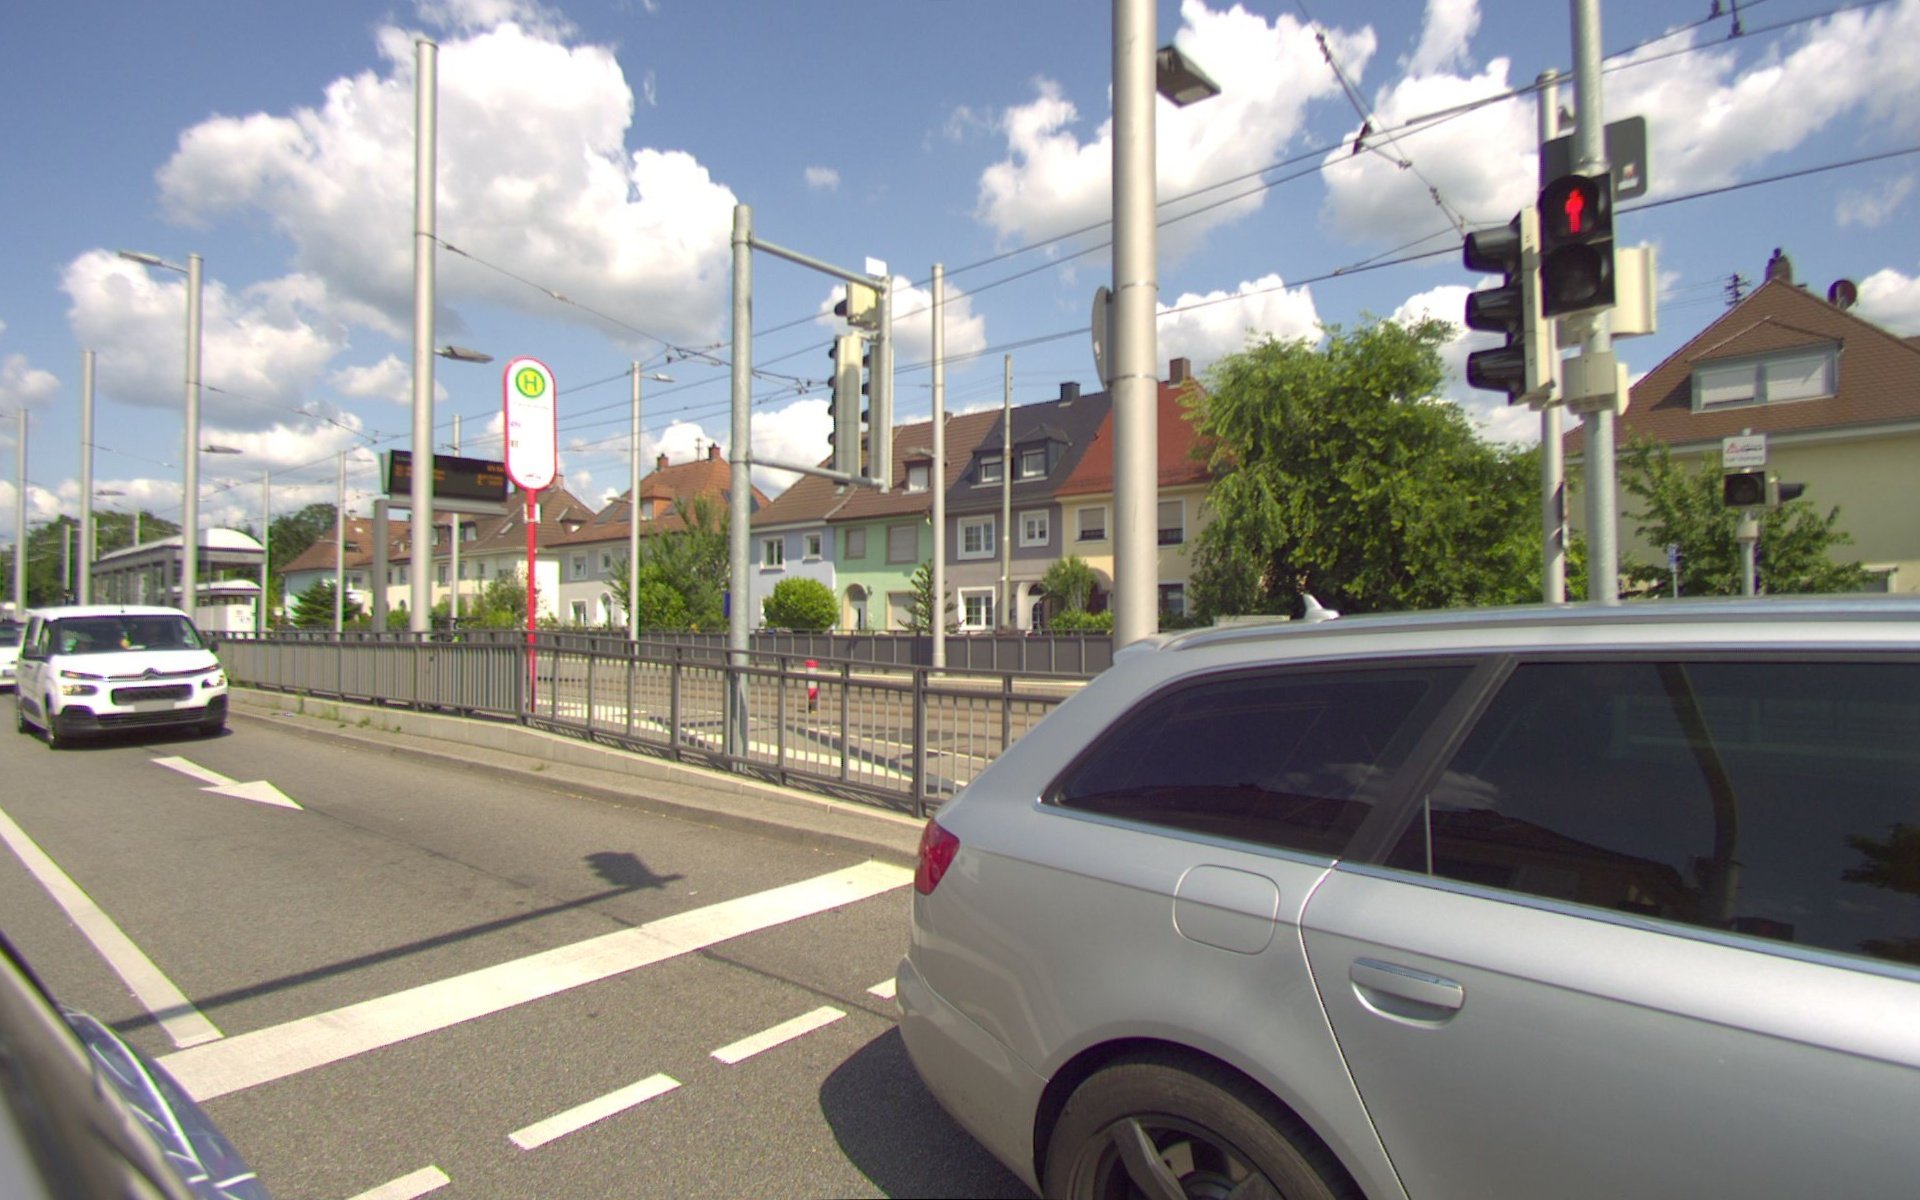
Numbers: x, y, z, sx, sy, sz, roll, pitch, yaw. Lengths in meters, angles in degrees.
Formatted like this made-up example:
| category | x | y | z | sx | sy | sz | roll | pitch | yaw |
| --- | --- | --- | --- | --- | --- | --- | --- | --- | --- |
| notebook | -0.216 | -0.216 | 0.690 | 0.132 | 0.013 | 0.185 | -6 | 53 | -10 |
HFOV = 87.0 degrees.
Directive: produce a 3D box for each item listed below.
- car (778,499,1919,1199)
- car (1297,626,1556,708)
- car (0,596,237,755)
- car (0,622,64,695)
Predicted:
| category | x | y | z | sx | sy | sz | roll | pitch | yaw |
| --- | --- | --- | --- | --- | --- | --- | --- | --- | --- |
| car | 1.946 | 0.636 | 1.444 | 4.718 | 1.483 | 1.776 | -2 | -2 | 41 |
| car | 9.060 | 1.228 | 19.872 | 4.342 | 1.362 | 1.667 | -1 | 0 | 40 |
| car | -11.509 | 0.888 | 13.703 | 4.326 | 1.829 | 1.776 | -1 | 0 | 40 |
| car | -21.645 | 1.281 | 22.760 | 3.389 | 1.515 | 1.660 | -1 | 0 | 38 |
